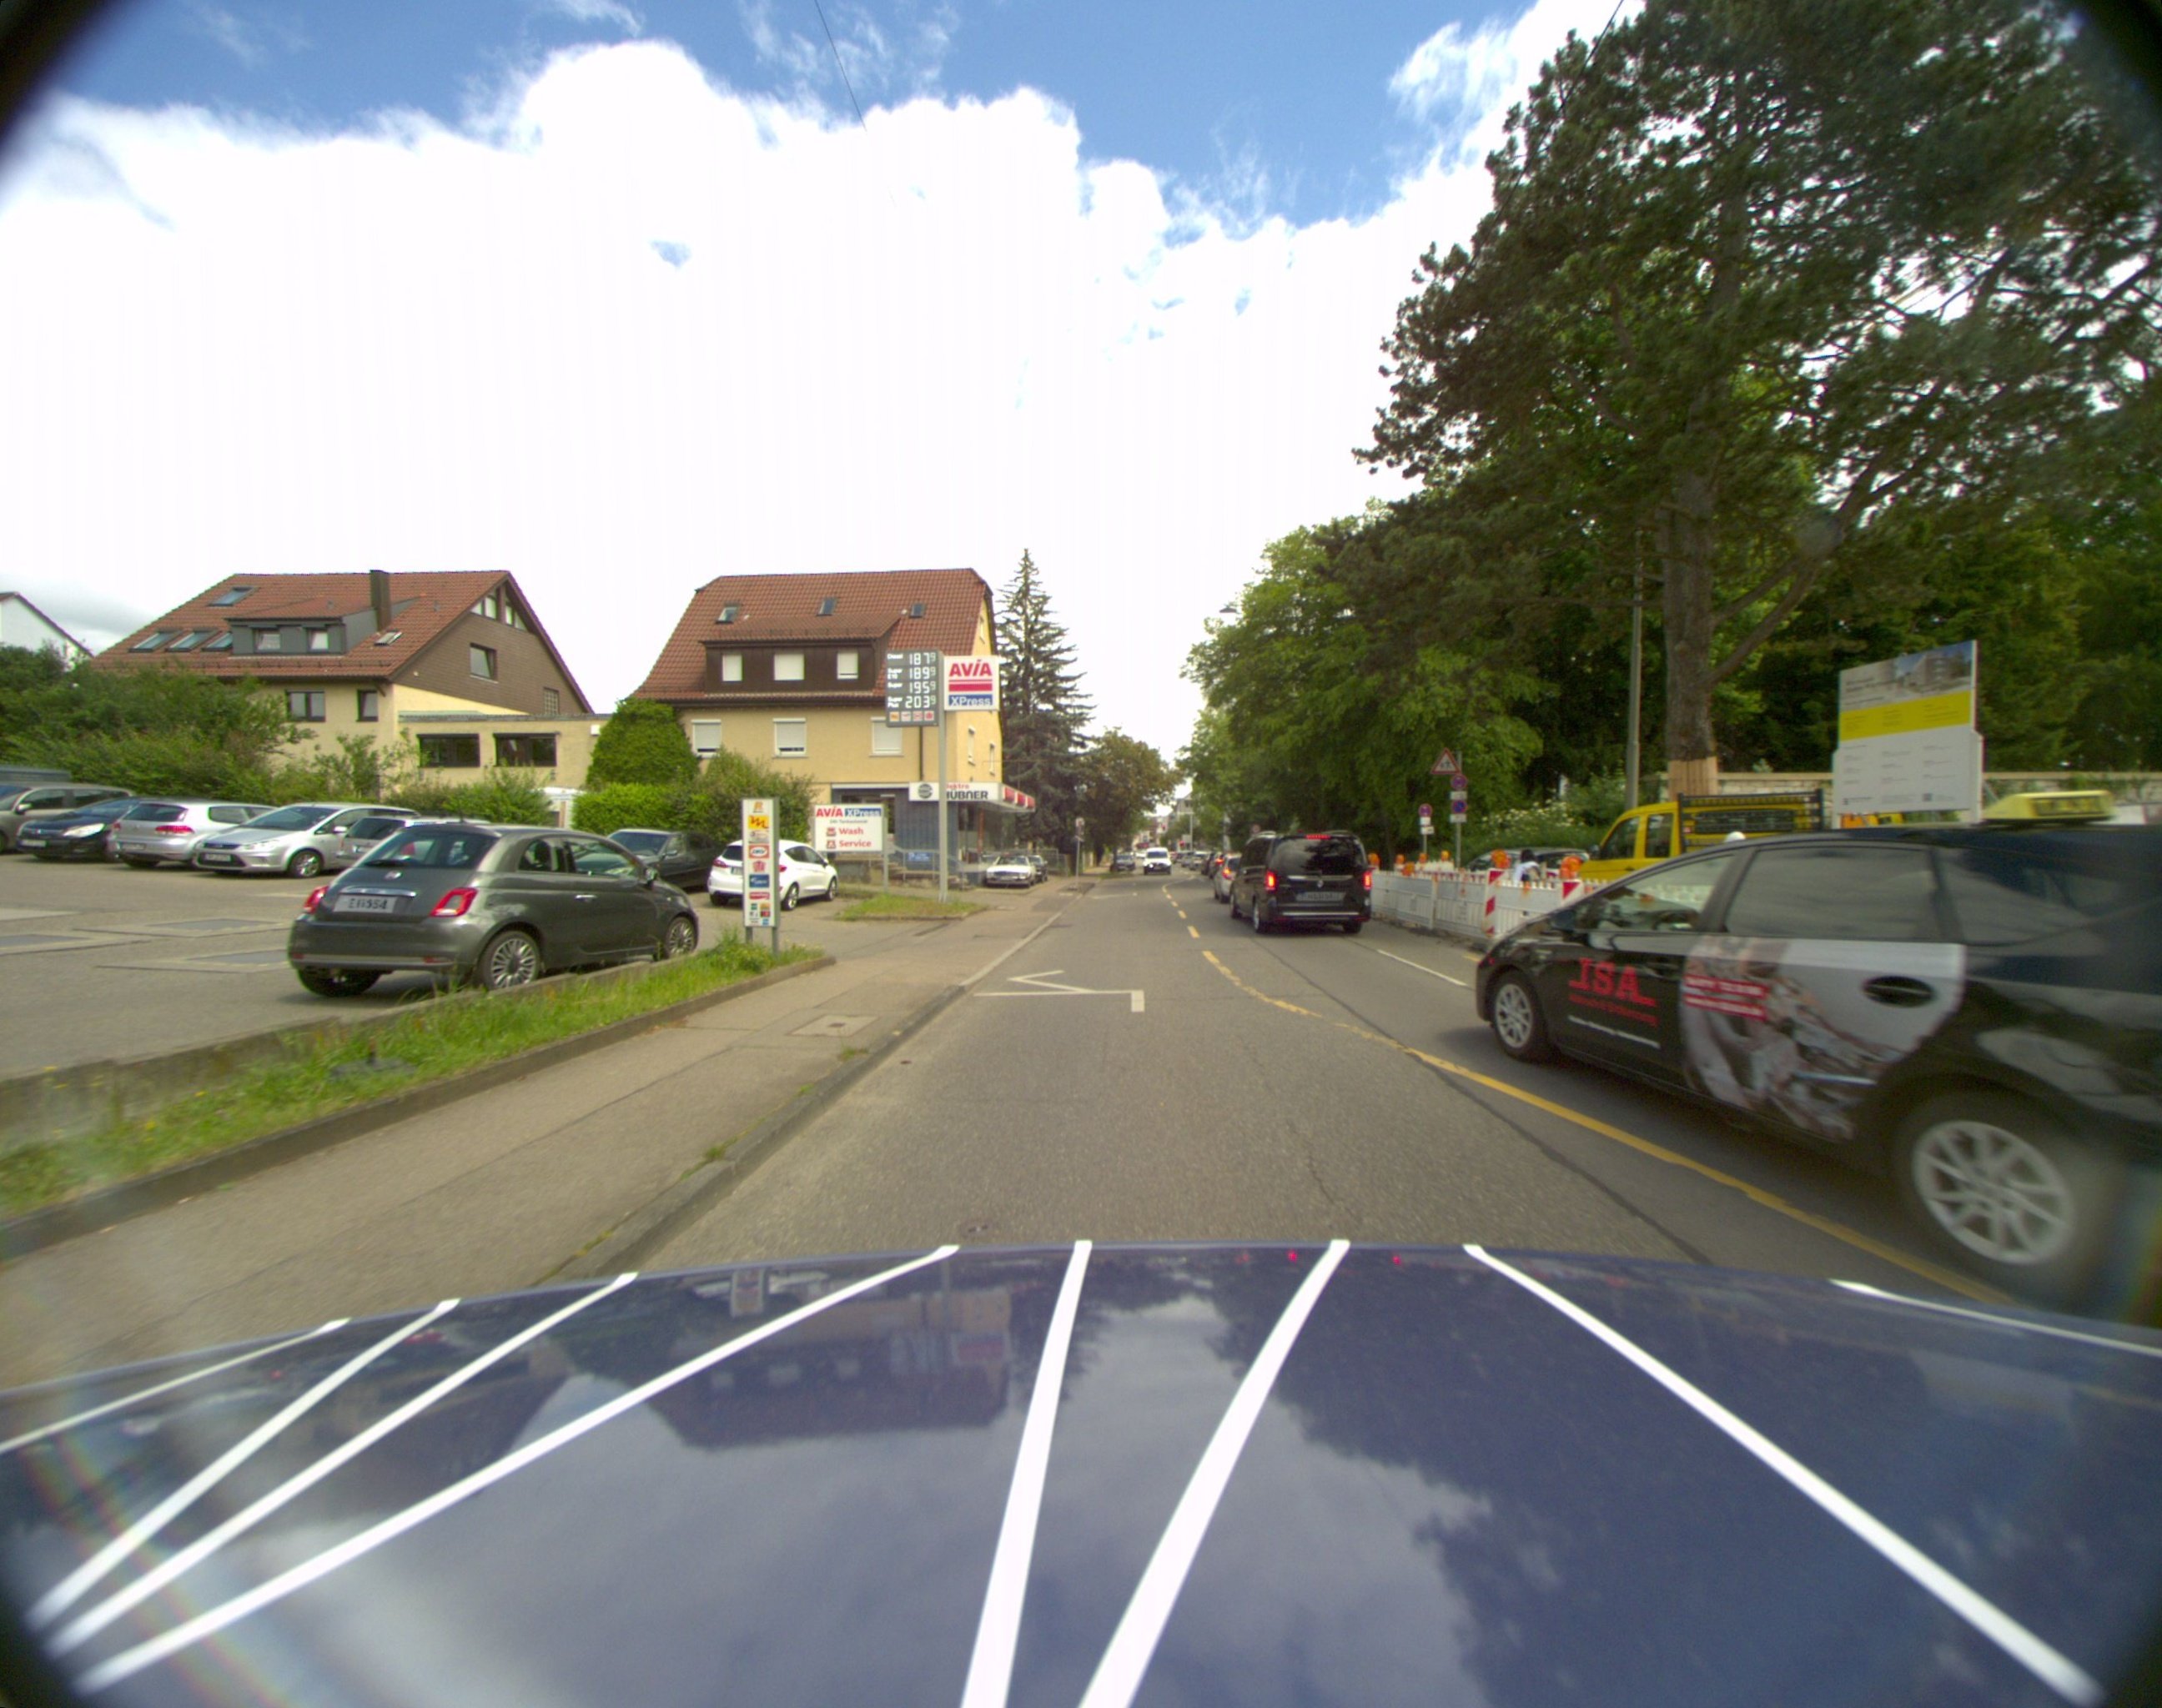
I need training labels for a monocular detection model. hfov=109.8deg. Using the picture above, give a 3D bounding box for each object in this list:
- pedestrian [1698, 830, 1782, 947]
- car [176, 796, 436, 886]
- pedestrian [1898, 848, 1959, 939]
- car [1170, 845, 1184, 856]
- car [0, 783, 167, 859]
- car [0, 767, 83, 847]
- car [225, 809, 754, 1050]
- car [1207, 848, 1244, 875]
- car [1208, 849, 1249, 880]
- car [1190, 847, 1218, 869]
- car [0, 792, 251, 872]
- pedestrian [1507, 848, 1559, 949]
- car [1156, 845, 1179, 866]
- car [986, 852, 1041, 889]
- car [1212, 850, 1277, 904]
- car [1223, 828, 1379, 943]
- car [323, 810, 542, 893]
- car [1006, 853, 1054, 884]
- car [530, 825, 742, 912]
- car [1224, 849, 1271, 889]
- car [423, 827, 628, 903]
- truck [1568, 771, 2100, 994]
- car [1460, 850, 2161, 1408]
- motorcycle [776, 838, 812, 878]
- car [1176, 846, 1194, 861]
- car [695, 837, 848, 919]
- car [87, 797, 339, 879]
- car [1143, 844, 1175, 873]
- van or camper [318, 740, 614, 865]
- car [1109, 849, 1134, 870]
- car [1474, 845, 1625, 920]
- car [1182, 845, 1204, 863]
[{"bbox_3d":[8.936,0.449,10.324,0.575,1.539,0.654,-2,2,-1],"label":"pedestrian"},{"bbox_3d":[-17.007,-0.312,16.999,1.570,1.674,4.048,4,2,1],"label":"car"},{"bbox_3d":[13.288,0.604,11.926,0.574,1.377,0.539,0,2,41],"label":"pedestrian"},{"bbox_3d":[13.736,-0.516,108.916,1.618,1.582,4.162,2,2,4],"label":"car"},{"bbox_3d":[-24.184,-0.777,17.442,1.570,1.623,3.951,4,2,1],"label":"car"},{"bbox_3d":[-26.771,-1.151,17.042,1.923,1.908,5.136,4,2,1],"label":"car"},{"bbox_3d":[-5.242,0.513,7.600,1.618,1.587,4.161,6,2,7],"label":"car"},{"bbox_3d":[9.063,0.433,47.874,1.761,1.582,3.970,0,2,4],"label":"car"},{"bbox_3d":[8.099,0.517,41.967,1.780,1.547,4.002,1,1,5],"label":"car"},{"bbox_3d":[9.756,0.298,60.514,1.761,1.582,4.004,2,2,4],"label":"car"},{"bbox_3d":[-21.711,-0.509,17.358,1.570,1.560,3.498,4,2,1],"label":"car"},{"bbox_3d":[7.359,0.700,12.369,0.538,1.592,0.570,-3,2,-41],"label":"pedestrian"},{"bbox_3d":[8.208,0.100,72.349,1.965,1.797,4.223,-2,1,4],"label":"car"},{"bbox_3d":[-2.747,0.630,31.653,1.789,1.309,4.481,1,1,1],"label":"car"},{"bbox_3d":[4.974,0.668,23.476,1.618,1.514,3.571,0,0,6],"label":"car"},{"bbox_3d":[4.160,0.519,15.254,1.913,1.940,4.914,0,0,3],"label":"car"},{"bbox_3d":[-14.412,-0.097,17.184,1.640,1.576,3.746,4,2,1],"label":"car"},{"bbox_3d":[-2.384,0.653,36.586,1.789,1.276,4.316,1,1,3],"label":"car"},{"bbox_3d":[-9.467,0.212,16.687,1.716,1.533,4.656,4,2,2],"label":"car"},{"bbox_3d":[7.109,0.575,32.159,1.821,1.514,4.564,-1,1,14],"label":"car"},{"bbox_3d":[-11.912,0.166,16.627,1.640,1.364,3.746,4,2,1],"label":"car"},{"bbox_3d":[10.199,0.261,11.403,2.311,2.406,6.094,-1,1,5],"label":"truck"},{"bbox_3d":[3.902,0.746,3.679,1.870,1.518,4.527,0,1,0],"label":"car"},{"bbox_3d":[-10.715,0.125,28.459,0.402,1.305,1.907,5,5,5],"label":"motorcycle"},{"bbox_3d":[12.448,-0.083,91.349,1.761,1.582,4.162,2,2,4],"label":"car"},{"bbox_3d":[-6.846,0.435,17.315,1.638,1.520,4.203,4,2,1],"label":"car"},{"bbox_3d":[-19.201,-0.376,17.058,1.570,1.560,3.498,4,2,1],"label":"car"},{"bbox_3d":[5.258,0.277,51.560,1.965,1.797,4.429,-2,1,4],"label":"car"},{"bbox_3d":[-16.635,-1.353,20.833,5.973,2.834,2.531,4,1,1],"label":"van or camper"},{"bbox_3d":[3.340,0.428,62.121,1.938,1.483,4.023,-2,1,4],"label":"car"},{"bbox_3d":[10.522,0.565,17.371,1.626,1.499,3.585,-1,1,8],"label":"car"},{"bbox_3d":[10.816,-0.014,73.721,1.761,1.582,4.162,2,2,4],"label":"car"}]
